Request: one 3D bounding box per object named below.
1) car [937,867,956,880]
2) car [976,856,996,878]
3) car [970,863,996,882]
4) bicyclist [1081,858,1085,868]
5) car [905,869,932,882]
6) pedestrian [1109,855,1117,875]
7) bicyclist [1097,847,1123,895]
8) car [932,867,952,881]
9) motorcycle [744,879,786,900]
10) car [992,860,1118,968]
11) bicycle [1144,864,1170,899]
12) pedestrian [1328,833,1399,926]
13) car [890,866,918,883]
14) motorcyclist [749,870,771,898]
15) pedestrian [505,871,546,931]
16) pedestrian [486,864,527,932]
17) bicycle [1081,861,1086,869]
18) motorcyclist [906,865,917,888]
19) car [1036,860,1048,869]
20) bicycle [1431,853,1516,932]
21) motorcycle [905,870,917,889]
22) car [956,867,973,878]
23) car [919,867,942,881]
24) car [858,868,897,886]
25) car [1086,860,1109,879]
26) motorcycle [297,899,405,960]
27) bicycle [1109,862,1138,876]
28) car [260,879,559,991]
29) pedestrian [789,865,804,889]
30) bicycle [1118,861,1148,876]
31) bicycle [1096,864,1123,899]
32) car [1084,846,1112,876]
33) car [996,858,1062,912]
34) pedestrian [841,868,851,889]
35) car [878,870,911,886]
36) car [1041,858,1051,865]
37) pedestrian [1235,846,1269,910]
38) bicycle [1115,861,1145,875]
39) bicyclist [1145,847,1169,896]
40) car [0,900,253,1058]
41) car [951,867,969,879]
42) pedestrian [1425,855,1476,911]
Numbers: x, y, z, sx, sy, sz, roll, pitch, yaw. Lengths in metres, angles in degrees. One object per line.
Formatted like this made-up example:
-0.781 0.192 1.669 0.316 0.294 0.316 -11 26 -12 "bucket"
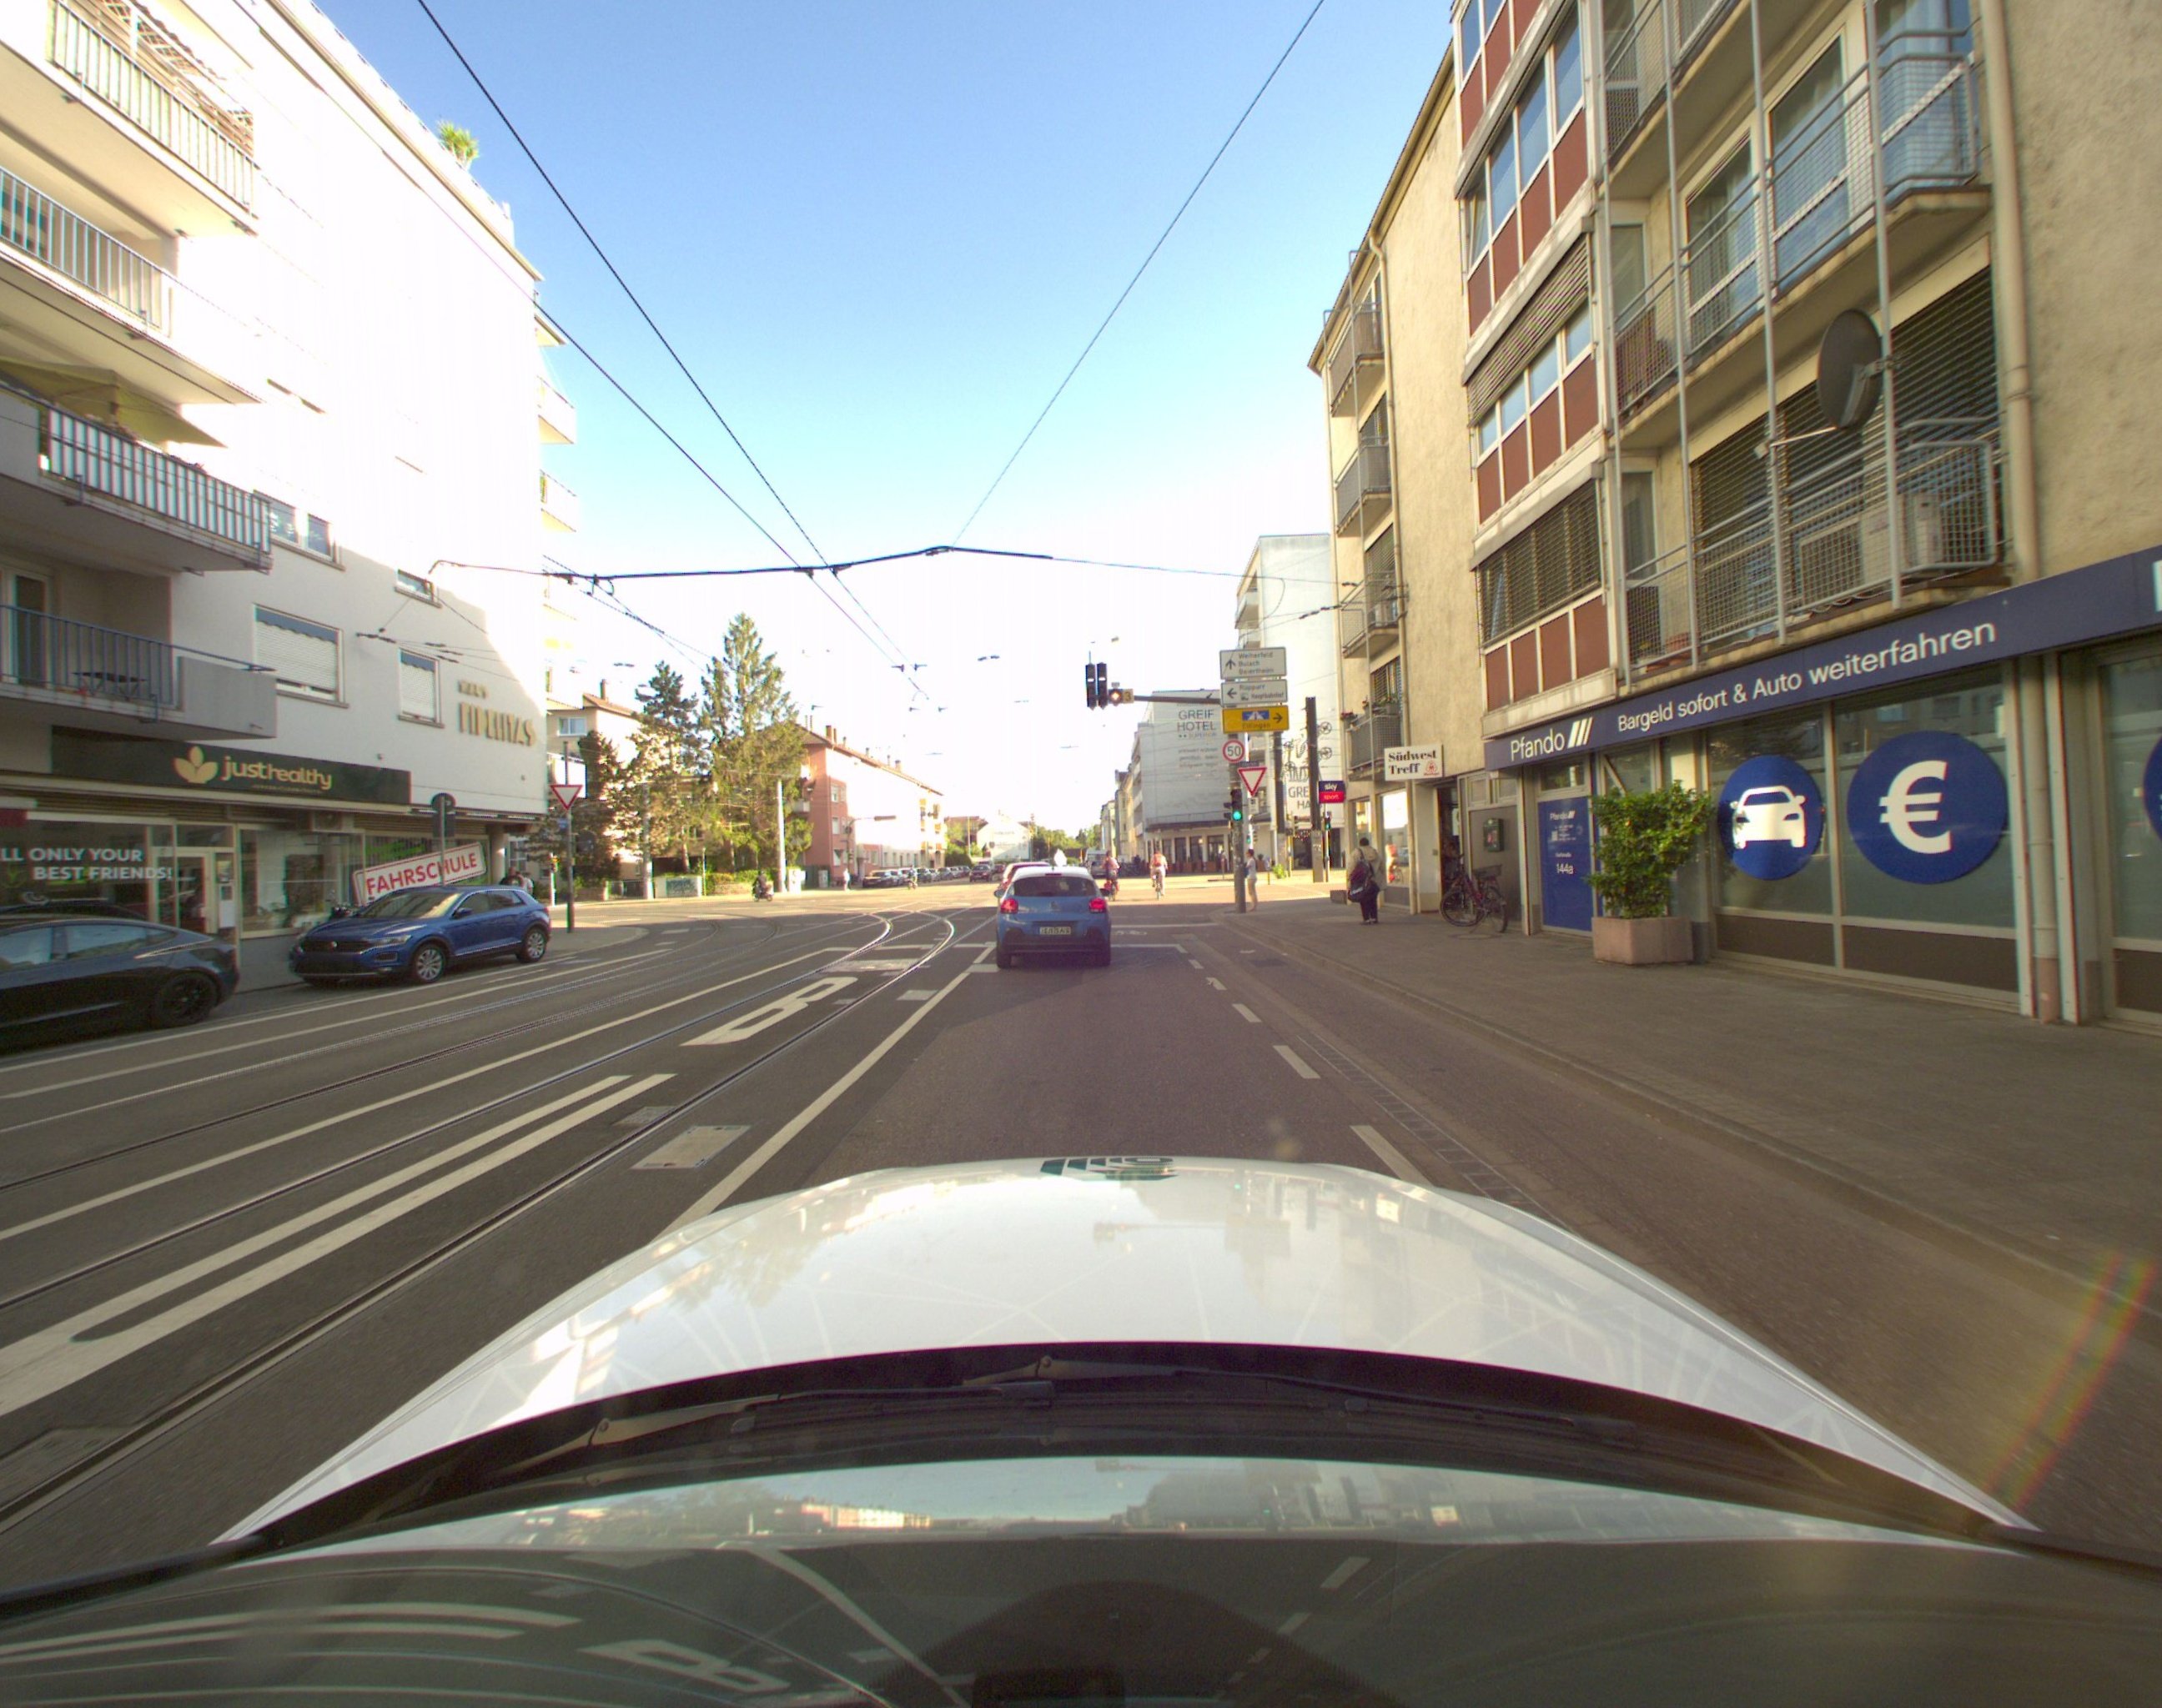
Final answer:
-16.715 2.456 101.443 1.864 1.576 3.997 0 -1 -1 "car"
-13.893 1.934 119.172 2.409 3.142 3.489 0 -1 1 "car"
-8.511 1.598 70.677 1.773 1.486 3.827 -3 -1 -1 "car"
0.521 1.996 177.831 0.787 2.025 0.987 0 -1 5 "bicyclist"
-16.867 2.215 84.876 1.941 1.239 4.281 0 -1 0 "car"
2.632 0.920 67.288 0.610 1.654 0.671 0 -1 2 "pedestrian"
1.045 0.612 29.173 0.937 1.673 1.080 0 -1 2 "bicyclist"
-16.535 2.393 96.985 1.864 1.576 3.997 0 -1 -1 "car"
-16.623 1.870 42.888 1.920 1.047 0.862 -1 -1 18 "motorcycle"
-0.553 0.861 13.227 1.734 1.452 3.654 -1 -1 -6 "car"
2.711 0.962 28.980 0.806 1.181 2.069 0 -1 8 "bicycle"
5.159 0.448 14.925 0.883 1.592 0.810 -4 0 -5 "pedestrian"
-16.897 1.937 77.993 1.735 1.526 4.230 0 -1 1 "car"
-16.947 1.570 42.997 0.721 1.488 0.862 -1 -1 18 "motorcyclist"
-17.158 1.451 25.153 0.731 1.792 0.663 -2 0 7 "pedestrian"
-16.479 1.255 23.388 0.568 1.900 0.742 -2 -3 18 "pedestrian"
0.523 2.463 177.821 0.787 1.670 2.233 0 -1 5 "bicycle"
-11.411 1.507 54.721 0.694 1.497 0.681 -2 -3 -12 "motorcyclist"
-7.998 2.171 168.528 2.210 1.932 4.949 0 -1 1 "car"
6.235 0.588 13.029 0.494 1.161 1.777 -2 -1 1 "bicycle"
-11.408 1.715 54.738 0.712 1.220 1.957 -2 -2 -12 "motorcycle"
-16.717 2.676 116.901 1.864 1.576 3.997 0 -1 -2 "car"
-16.806 2.228 90.926 1.864 1.576 3.997 0 -1 -1 "car"
-16.935 1.974 67.854 2.147 1.432 4.438 0 -3 -1 "car"
1.296 1.245 65.398 1.653 1.431 3.885 0 -1 -2 "car"
-15.215 1.537 17.042 0.605 1.134 1.797 0 -1 0 "motorcycle"
3.414 1.178 65.841 2.245 1.001 0.856 -3 -1 -2 "bicycle"
-11.354 1.278 14.251 1.764 1.503 4.235 0 0 -1 "car"
-20.482 1.679 58.664 0.695 1.722 0.789 -1 -1 42 "pedestrian"
4.044 1.122 63.348 2.245 1.001 0.856 -3 -1 -2 "bicycle"
1.046 0.971 29.162 0.937 1.223 2.096 0 -1 3 "bicycle"
1.407 0.611 70.539 2.258 2.482 5.006 -1 -1 -1 "car"
-1.696 0.903 25.461 1.784 1.522 3.751 0 0 -8 "car"
-17.263 1.808 59.816 0.514 1.568 0.573 0 -1 1 "pedestrian"
-16.799 2.142 73.390 1.896 1.436 4.104 0 -1 2 "car"
-7.992 1.733 185.911 2.067 1.763 5.037 0 -1 1 "car"
4.545 0.635 21.619 0.534 1.624 0.737 -7 -3 25 "pedestrian"
3.864 1.133 64.730 2.245 1.001 0.856 -3 -1 -2 "bicycle"
2.710 0.626 28.941 0.806 1.692 0.937 0 -1 8 "bicyclist"
-11.678 1.310 8.338 1.762 1.475 4.446 0 -1 1 "car"
-16.589 2.600 111.601 1.864 1.576 3.997 0 -1 -1 "car"
7.494 0.580 16.511 0.627 1.087 0.672 -3 0 -33 "pedestrian"
